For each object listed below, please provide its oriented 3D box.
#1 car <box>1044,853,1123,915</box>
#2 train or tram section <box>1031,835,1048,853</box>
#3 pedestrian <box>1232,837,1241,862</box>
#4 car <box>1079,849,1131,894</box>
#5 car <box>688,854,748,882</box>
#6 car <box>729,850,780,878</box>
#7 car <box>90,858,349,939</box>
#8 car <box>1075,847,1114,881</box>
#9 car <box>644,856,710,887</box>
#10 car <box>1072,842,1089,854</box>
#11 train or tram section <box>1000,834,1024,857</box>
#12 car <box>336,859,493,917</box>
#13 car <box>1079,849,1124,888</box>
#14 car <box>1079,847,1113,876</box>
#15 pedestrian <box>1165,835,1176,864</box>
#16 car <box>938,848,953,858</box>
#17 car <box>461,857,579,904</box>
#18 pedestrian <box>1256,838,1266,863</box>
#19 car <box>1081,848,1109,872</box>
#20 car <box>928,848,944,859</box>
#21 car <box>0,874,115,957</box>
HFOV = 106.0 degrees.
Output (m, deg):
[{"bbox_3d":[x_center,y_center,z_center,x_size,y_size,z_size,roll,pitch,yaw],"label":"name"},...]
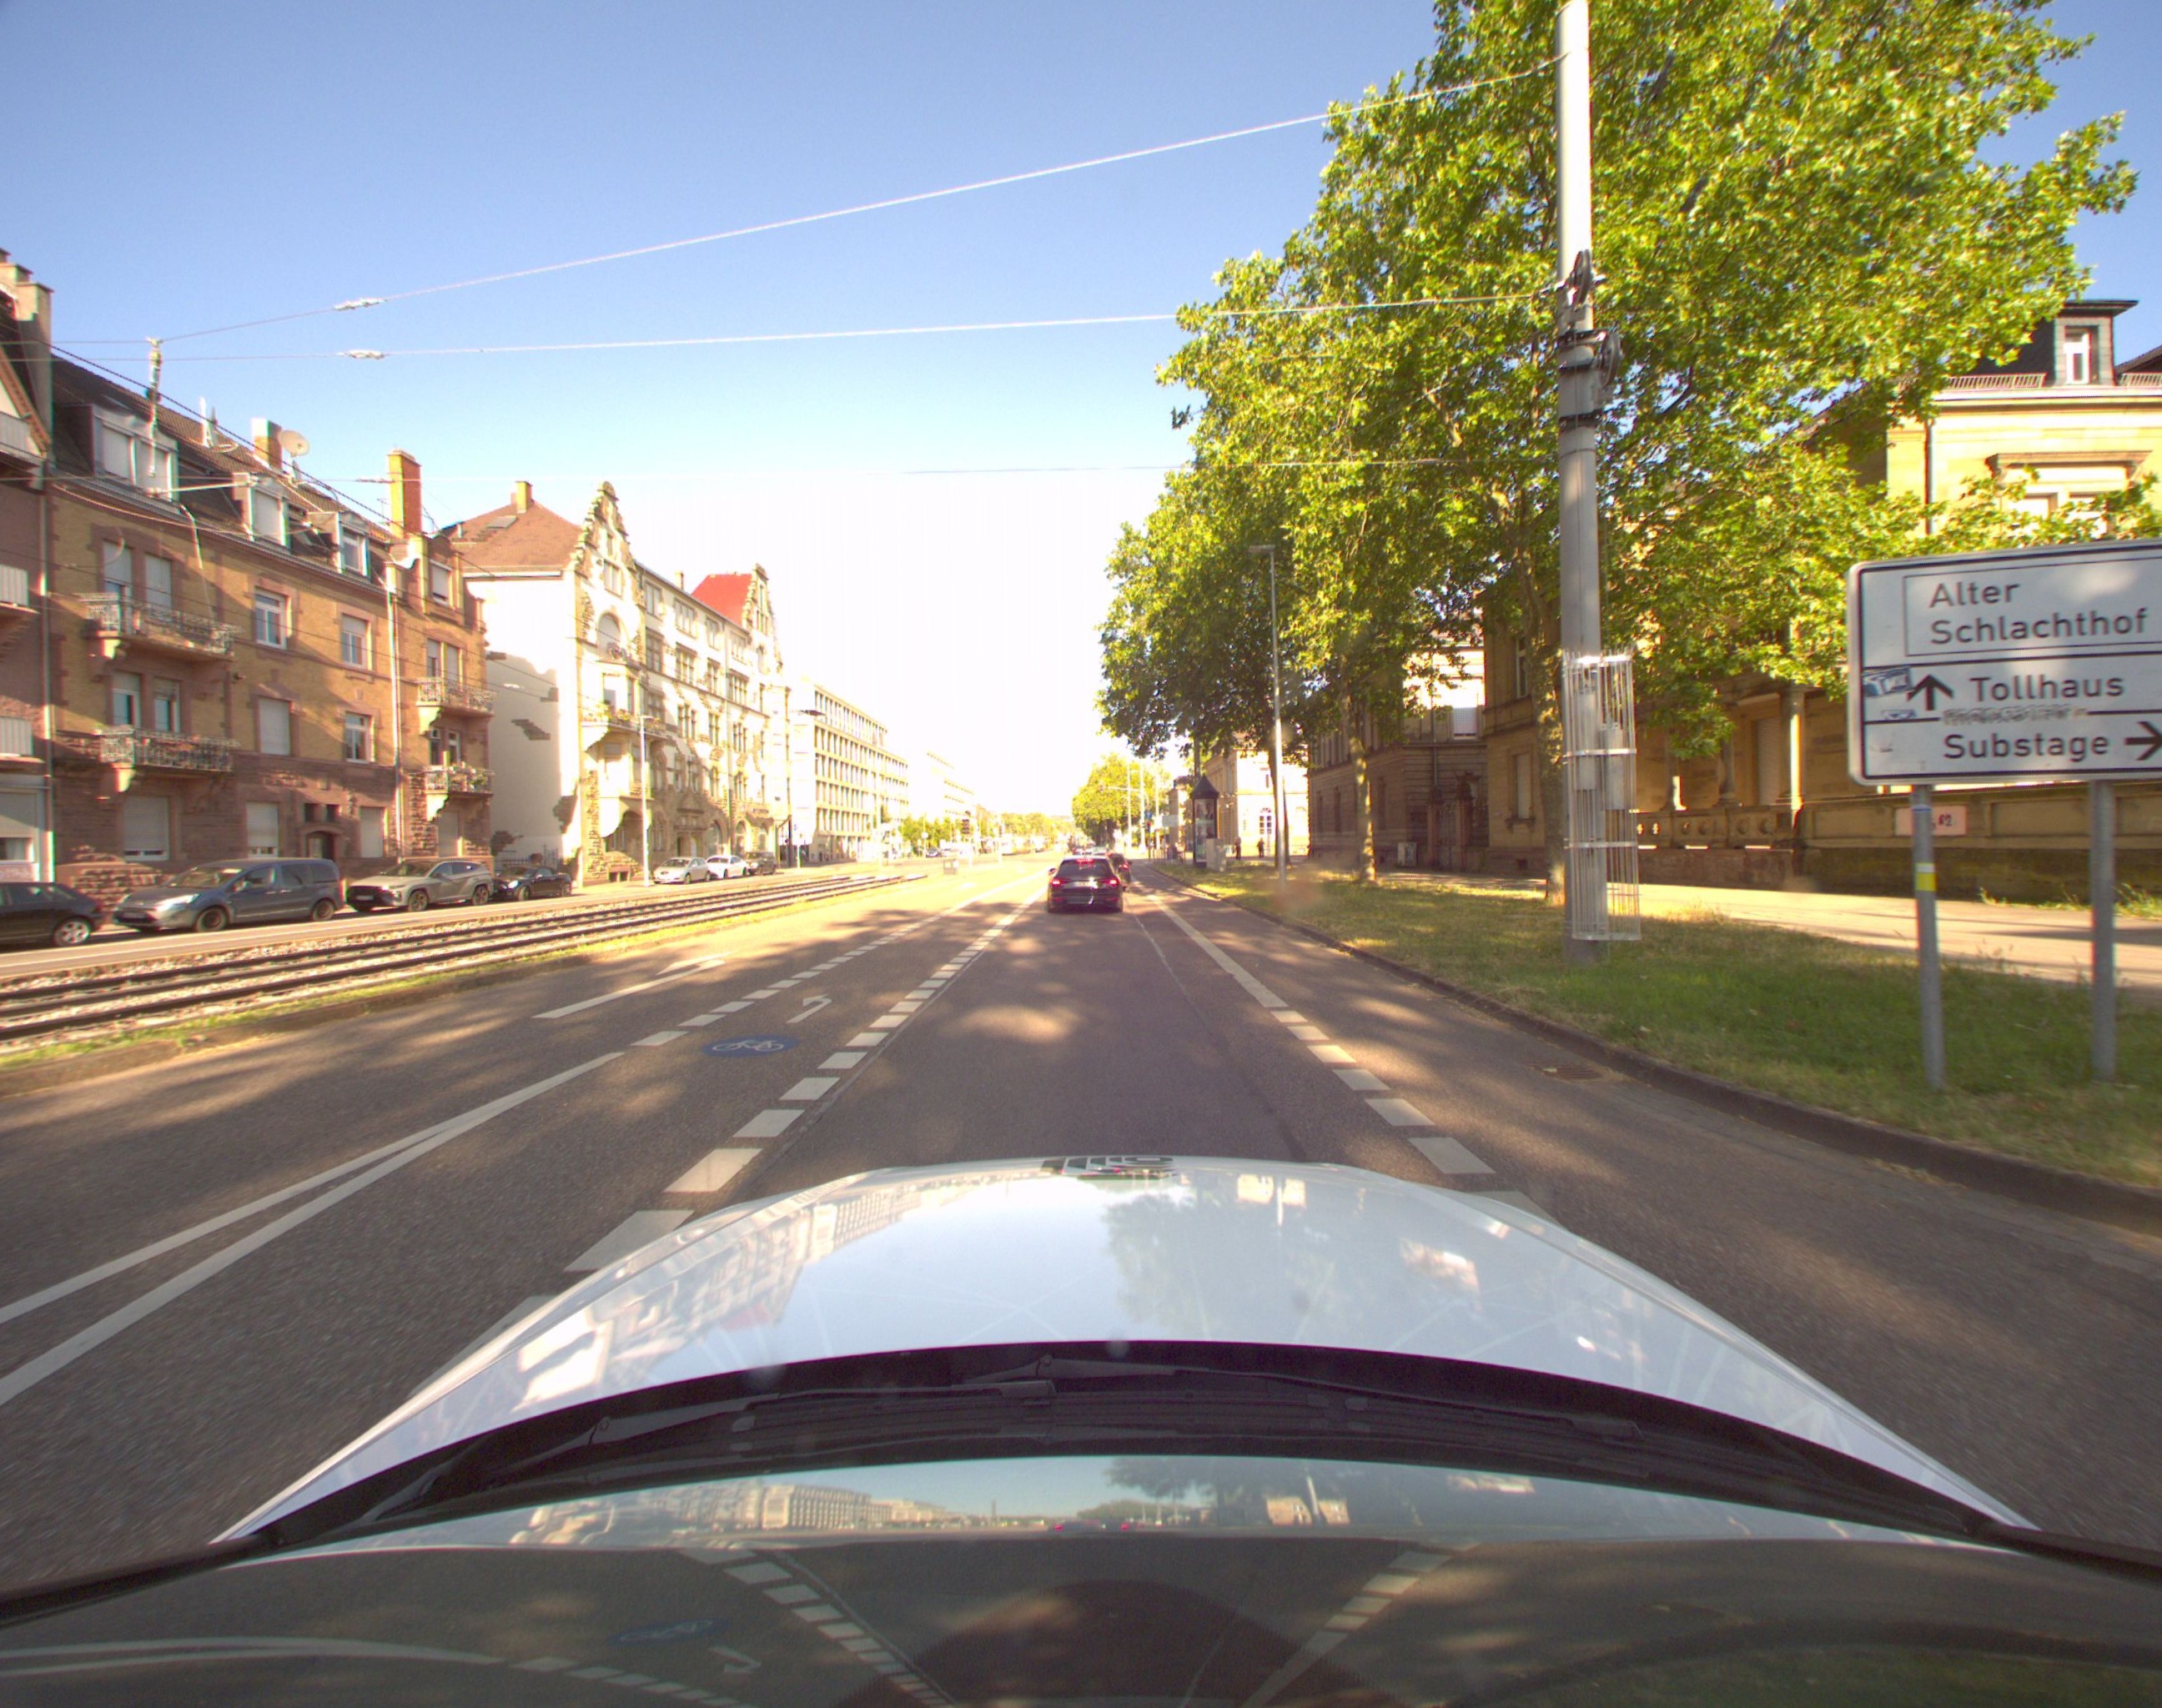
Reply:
[{"bbox_3d":[0.070,0.702,21.383,1.827,1.391,4.159,-1,1,0],"label":"car"},{"bbox_3d":[-8.306,-2.101,163.507,2.817,3.450,9.061,-2,1,-1],"label":"train or tram section"},{"bbox_3d":[10.864,-0.346,56.831,0.584,1.728,0.652,0,1,13],"label":"pedestrian"},{"bbox_3d":[0.890,0.615,30.853,1.788,1.510,4.001,-2,1,1],"label":"car"},{"bbox_3d":[-22.197,0.826,49.993,1.789,1.510,4.184,2,1,-1],"label":"car"},{"bbox_3d":[-22.204,0.631,55.562,1.789,1.719,4.184,2,1,-1],"label":"car"},{"bbox_3d":[-22.022,1.042,21.144,1.786,1.753,4.460,2,1,4],"label":"car"},{"bbox_3d":[0.668,0.447,40.222,1.788,1.510,4.001,-2,1,1],"label":"car"},{"bbox_3d":[-21.990,0.917,44.507,1.790,1.510,3.995,2,1,-4],"label":"car"},{"bbox_3d":[-0.049,-0.769,106.559,1.785,1.510,4.007,0,0,6],"label":"car"},{"bbox_3d":[-11.125,-1.430,132.200,2.815,3.450,9.066,-2,1,1],"label":"train or tram section"},{"bbox_3d":[-21.931,1.049,27.031,1.681,1.652,4.200,2,1,1],"label":"car"},{"bbox_3d":[0.894,0.583,35.448,1.788,1.510,4.001,-2,1,1],"label":"car"},{"bbox_3d":[0.843,0.364,45.859,1.788,1.510,4.001,-2,1,1],"label":"car"},{"bbox_3d":[5.472,-0.281,49.968,0.584,1.728,0.652,0,1,13],"label":"pedestrian"},{"bbox_3d":[-21.401,-0.226,128.725,1.789,1.510,3.998,-2,1,-2],"label":"car"},{"bbox_3d":[-22.044,0.985,32.234,1.681,1.652,4.200,2,1,1],"label":"car"},{"bbox_3d":[12.506,-0.264,56.597,0.583,1.728,0.653,0,1,15],"label":"pedestrian"},{"bbox_3d":[0.962,0.362,54.322,1.788,1.510,4.001,-2,1,1],"label":"car"},{"bbox_3d":[-21.584,-0.132,121.326,1.789,1.510,3.998,-2,1,-2],"label":"car"},{"bbox_3d":[-22.124,1.250,15.852,1.788,1.510,4.001,2,1,1],"label":"car"}]
